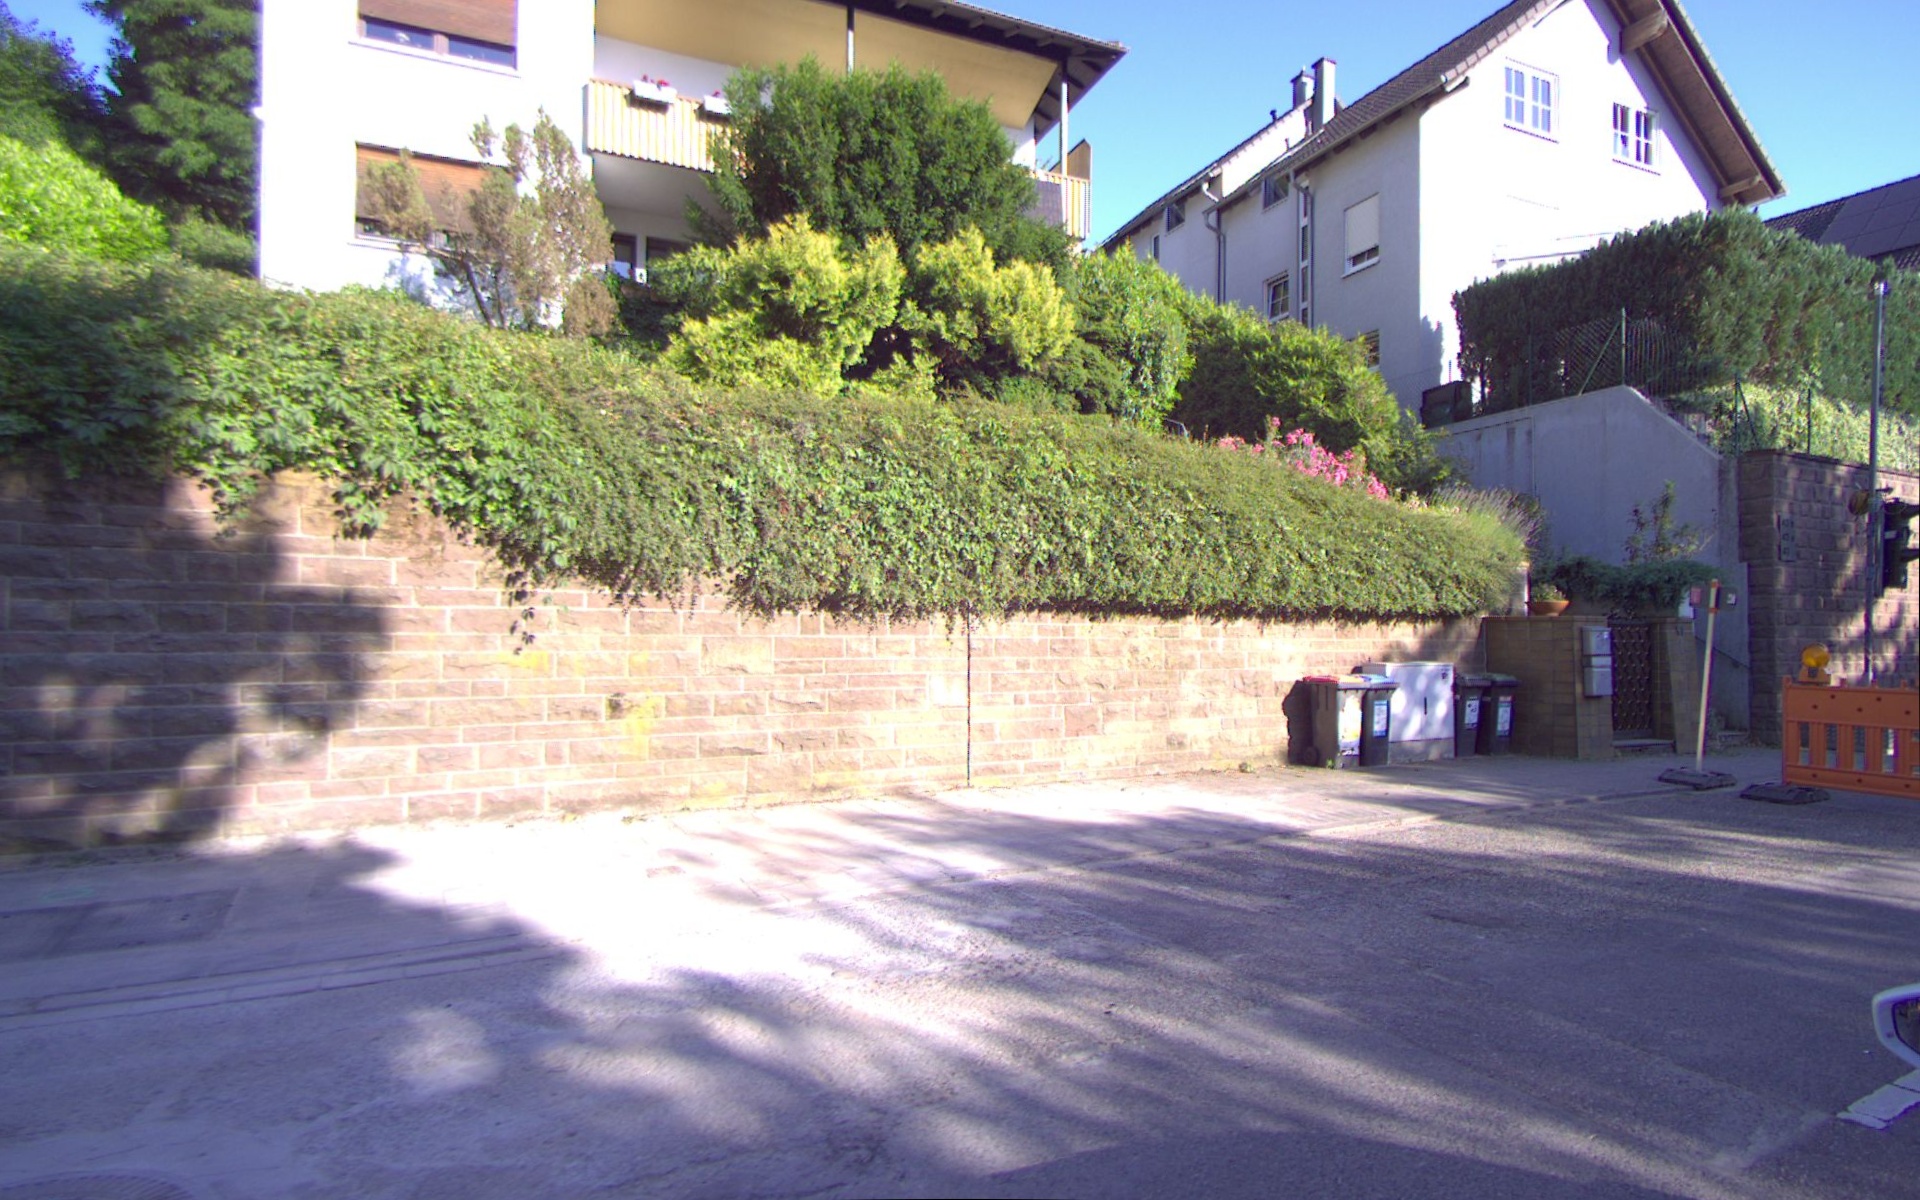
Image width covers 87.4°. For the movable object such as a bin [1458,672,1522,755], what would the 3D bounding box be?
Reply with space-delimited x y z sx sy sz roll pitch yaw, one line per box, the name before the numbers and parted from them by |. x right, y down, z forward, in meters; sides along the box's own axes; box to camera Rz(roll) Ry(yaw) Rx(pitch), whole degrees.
movable object such as a bin | 6.134 1.301 11.634 0.494 0.895 0.454 1 -1 -27

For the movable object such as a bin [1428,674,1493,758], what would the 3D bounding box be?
movable object such as a bin | 5.674 1.301 11.393 0.494 0.895 0.454 1 -1 -27

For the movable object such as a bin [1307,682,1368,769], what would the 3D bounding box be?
movable object such as a bin | 3.918 1.287 10.430 0.387 0.845 0.452 1 -1 -28

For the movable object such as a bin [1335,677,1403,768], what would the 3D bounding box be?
movable object such as a bin | 4.331 1.286 10.644 0.494 0.895 0.454 1 -1 -27
